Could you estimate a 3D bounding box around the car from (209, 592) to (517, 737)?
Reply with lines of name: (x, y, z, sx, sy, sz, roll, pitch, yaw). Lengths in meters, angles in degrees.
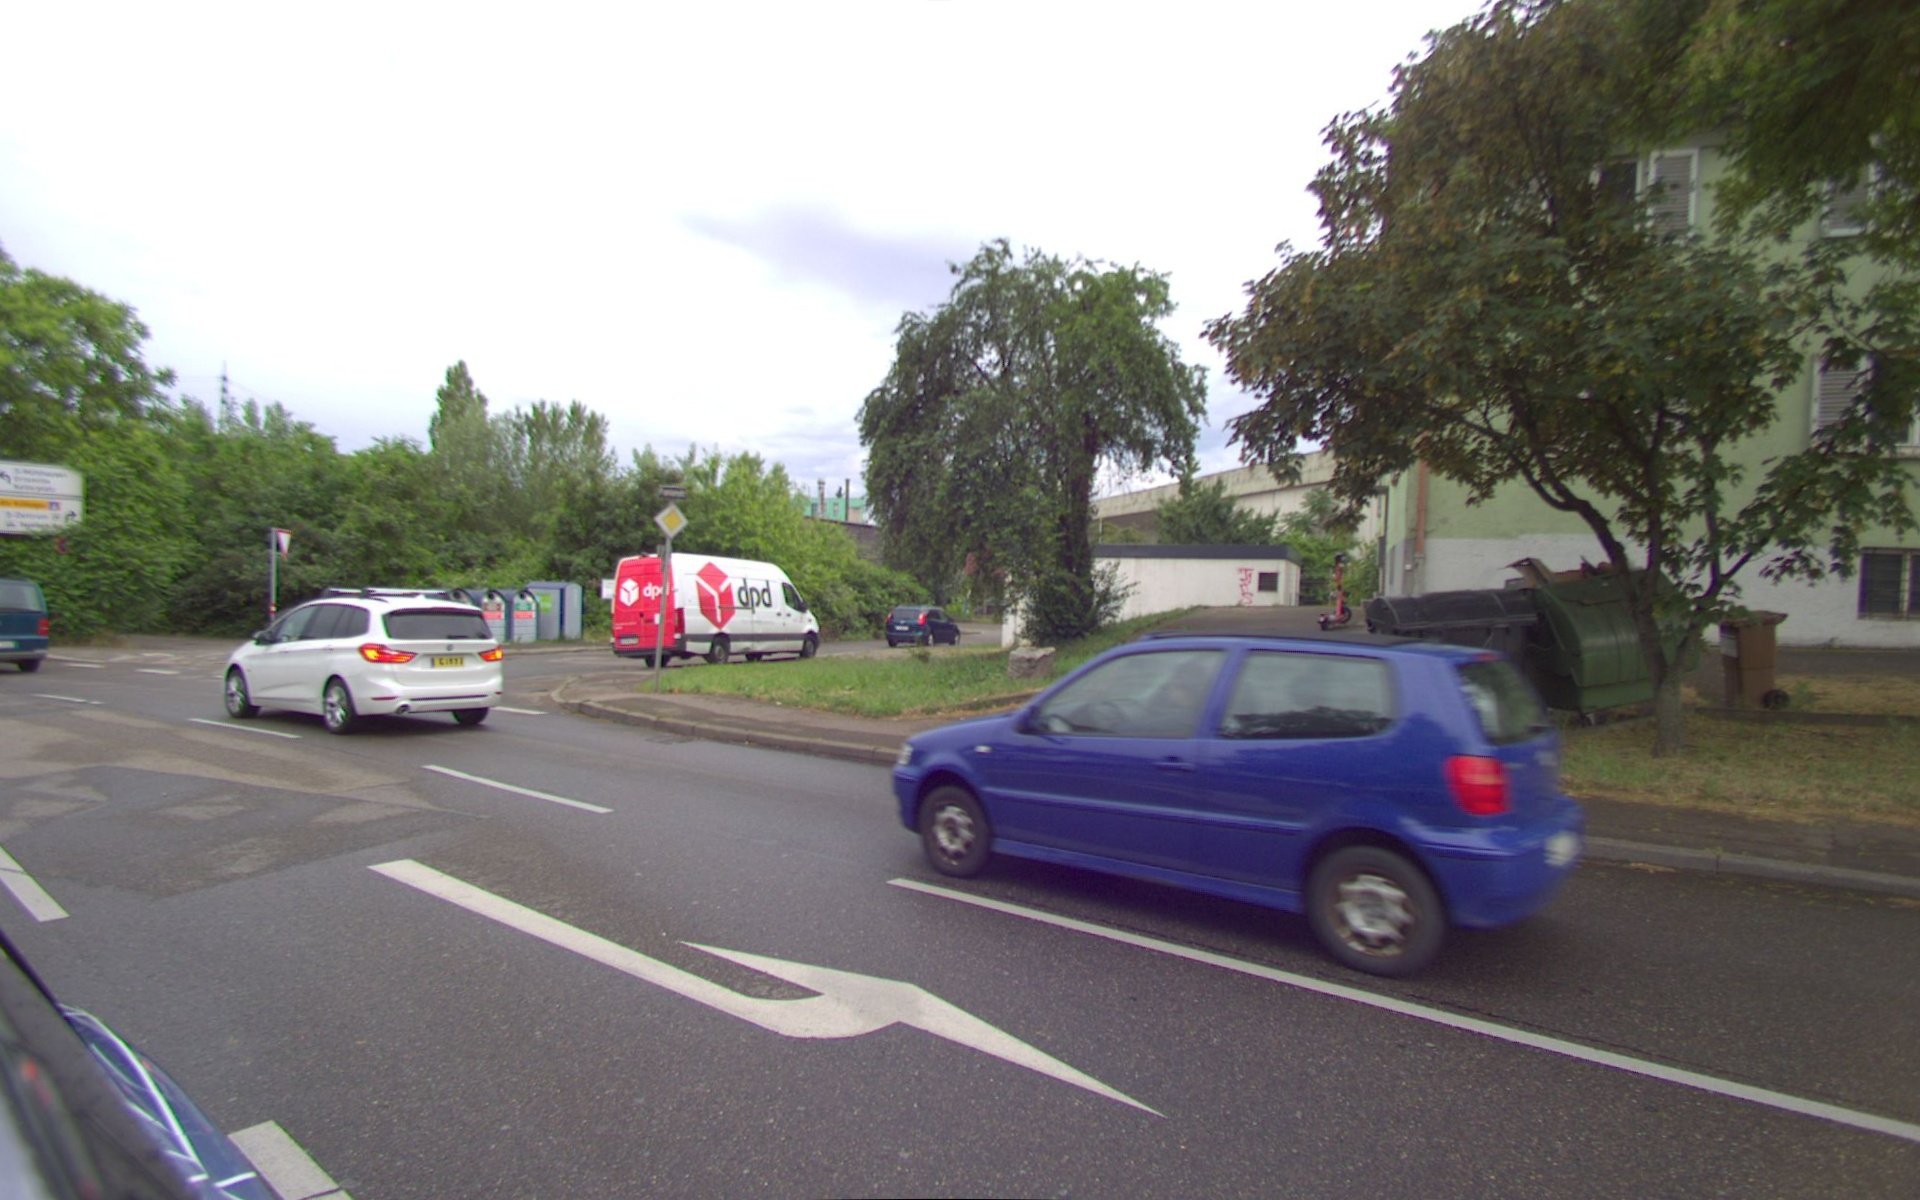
car: (-7.827, 0.737, 13.135, 4.323, 1.590, 1.816, -1, 0, 35)

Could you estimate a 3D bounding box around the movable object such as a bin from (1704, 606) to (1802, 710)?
movable object such as a bin: (7.746, 0.541, 9.888, 0.723, 0.964, 0.551, 1, 0, 41)

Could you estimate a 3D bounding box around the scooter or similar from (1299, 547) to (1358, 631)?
scooter or similar: (6.095, -0.211, 16.698, 0.529, 1.283, 1.507, 1, 4, 36)

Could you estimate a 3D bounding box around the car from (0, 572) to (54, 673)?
car: (-20.503, 0.424, 20.270, 4.659, 1.946, 1.946, 0, -1, 27)

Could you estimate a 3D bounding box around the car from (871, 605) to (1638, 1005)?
car: (1.334, 0.755, 5.499, 3.697, 1.436, 1.580, -1, -1, 44)

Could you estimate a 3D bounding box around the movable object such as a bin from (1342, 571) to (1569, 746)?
movable object such as a bin: (4.789, 0.511, 9.896, 1.440, 1.448, 1.296, -5, 3, -6)

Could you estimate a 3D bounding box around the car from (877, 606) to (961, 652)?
car: (-1.555, 1.101, 39.989, 1.984, 1.642, 4.227, 1, 0, 18)

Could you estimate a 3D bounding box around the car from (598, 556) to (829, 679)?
car: (-5.901, 0.362, 25.522, 2.247, 2.675, 6.776, 1, 0, 21)

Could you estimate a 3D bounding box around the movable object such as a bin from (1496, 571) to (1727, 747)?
movable object such as a bin: (6.244, 0.519, 9.780, 1.440, 1.448, 1.102, -5, 3, -6)
